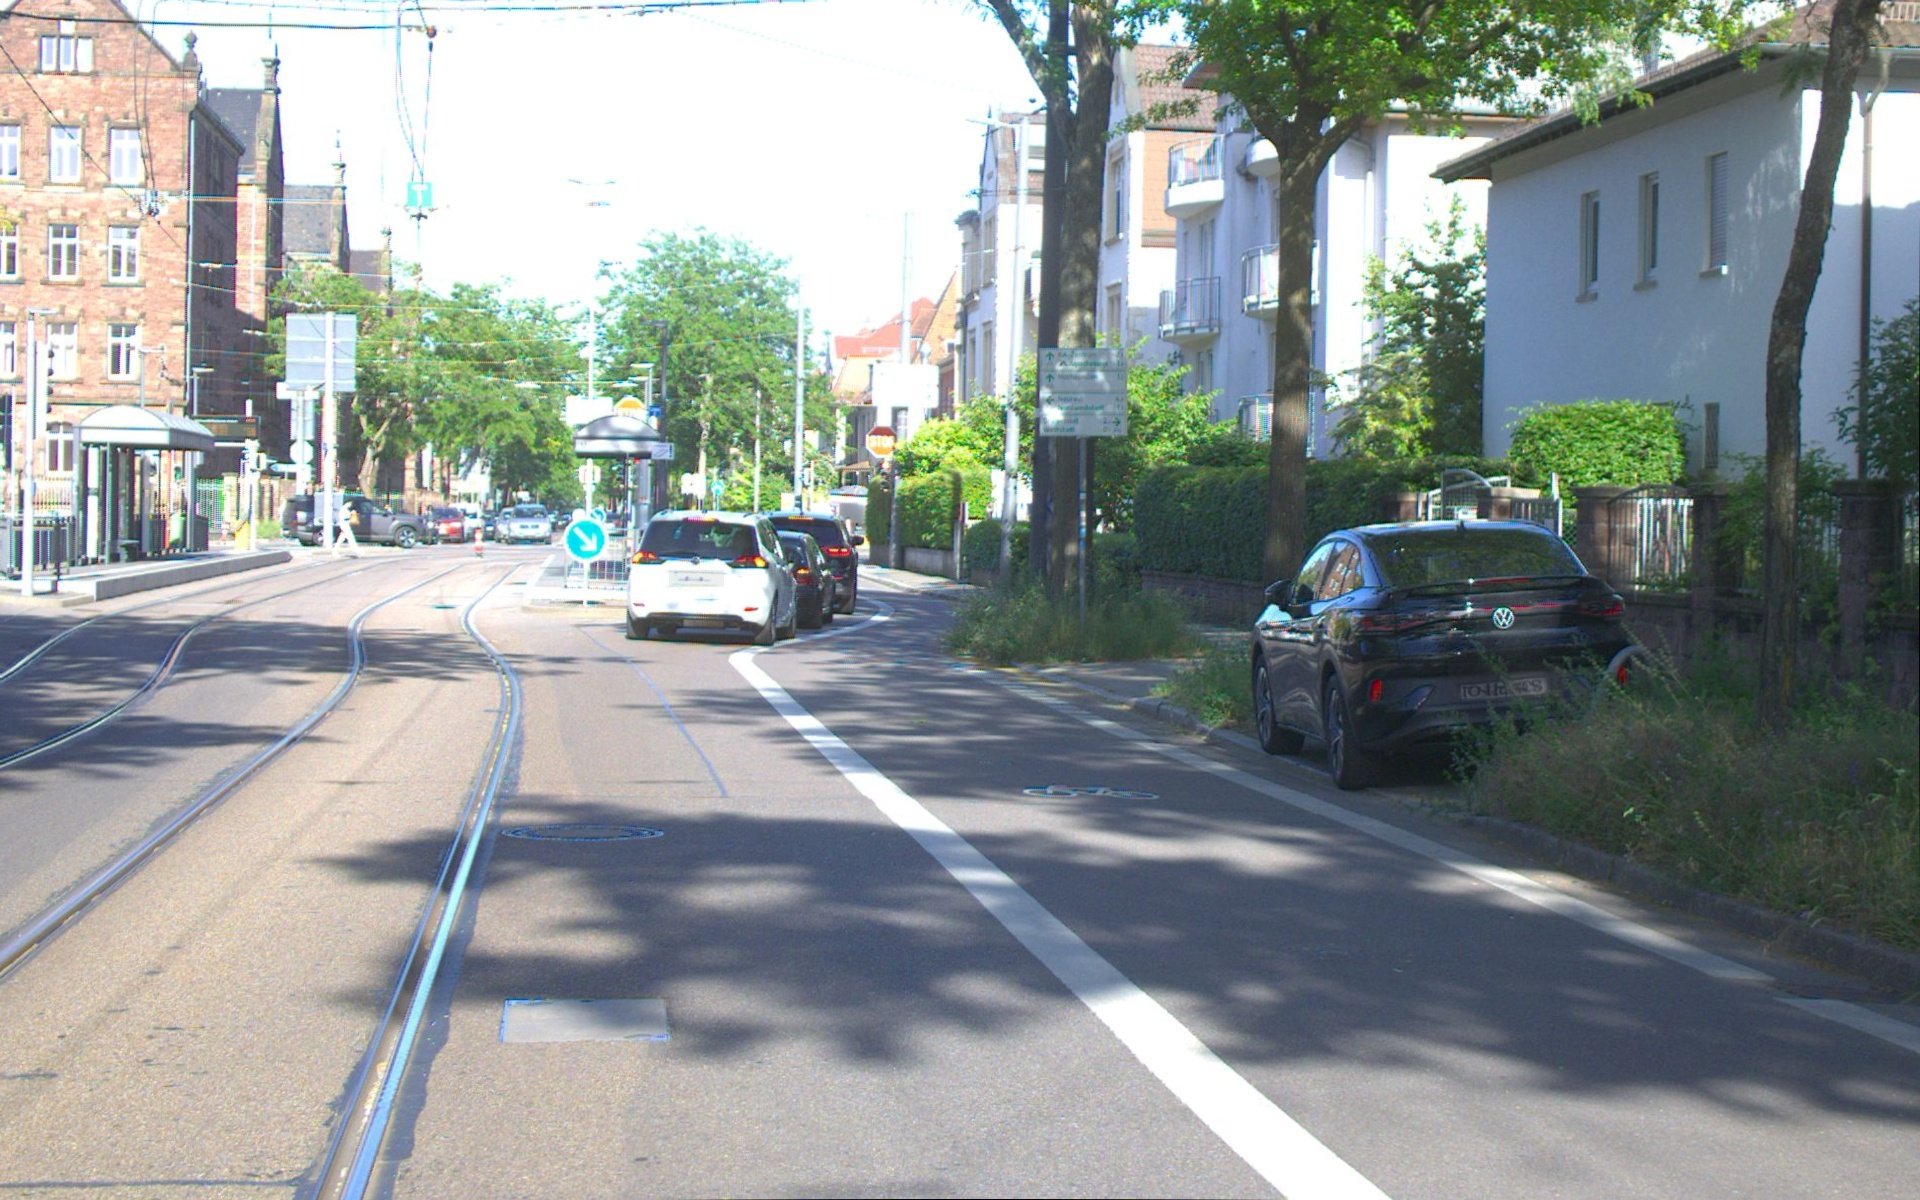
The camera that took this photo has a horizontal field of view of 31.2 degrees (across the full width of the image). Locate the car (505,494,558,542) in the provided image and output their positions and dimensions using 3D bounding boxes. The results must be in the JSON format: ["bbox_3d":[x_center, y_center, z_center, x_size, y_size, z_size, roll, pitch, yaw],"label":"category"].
[{"bbox_3d":[-17.780,-3.397,142.819,1.993,1.907,4.001,1,1,-5],"label":"car"}]

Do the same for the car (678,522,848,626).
[{"bbox_3d":[-2.851,-0.415,50.581,1.994,1.437,4.000,1,1,4],"label":"car"}]

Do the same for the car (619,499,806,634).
[{"bbox_3d":[-3.107,-0.392,43.943,1.893,1.605,4.228,1,0,2],"label":"car"}]

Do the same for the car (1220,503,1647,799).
[{"bbox_3d":[3.013,0.243,22.900,1.804,1.688,4.730,-2,2,-4],"label":"car"}]

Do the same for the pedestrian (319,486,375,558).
[{"bbox_3d":[-17.197,-2.191,96.441,1.156,2.007,1.119,1,1,16],"label":"pedestrian"}]

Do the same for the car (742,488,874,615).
[{"bbox_3d":[-2.467,-0.819,56.743,1.709,2.007,3.906,1,1,4],"label":"car"}]
